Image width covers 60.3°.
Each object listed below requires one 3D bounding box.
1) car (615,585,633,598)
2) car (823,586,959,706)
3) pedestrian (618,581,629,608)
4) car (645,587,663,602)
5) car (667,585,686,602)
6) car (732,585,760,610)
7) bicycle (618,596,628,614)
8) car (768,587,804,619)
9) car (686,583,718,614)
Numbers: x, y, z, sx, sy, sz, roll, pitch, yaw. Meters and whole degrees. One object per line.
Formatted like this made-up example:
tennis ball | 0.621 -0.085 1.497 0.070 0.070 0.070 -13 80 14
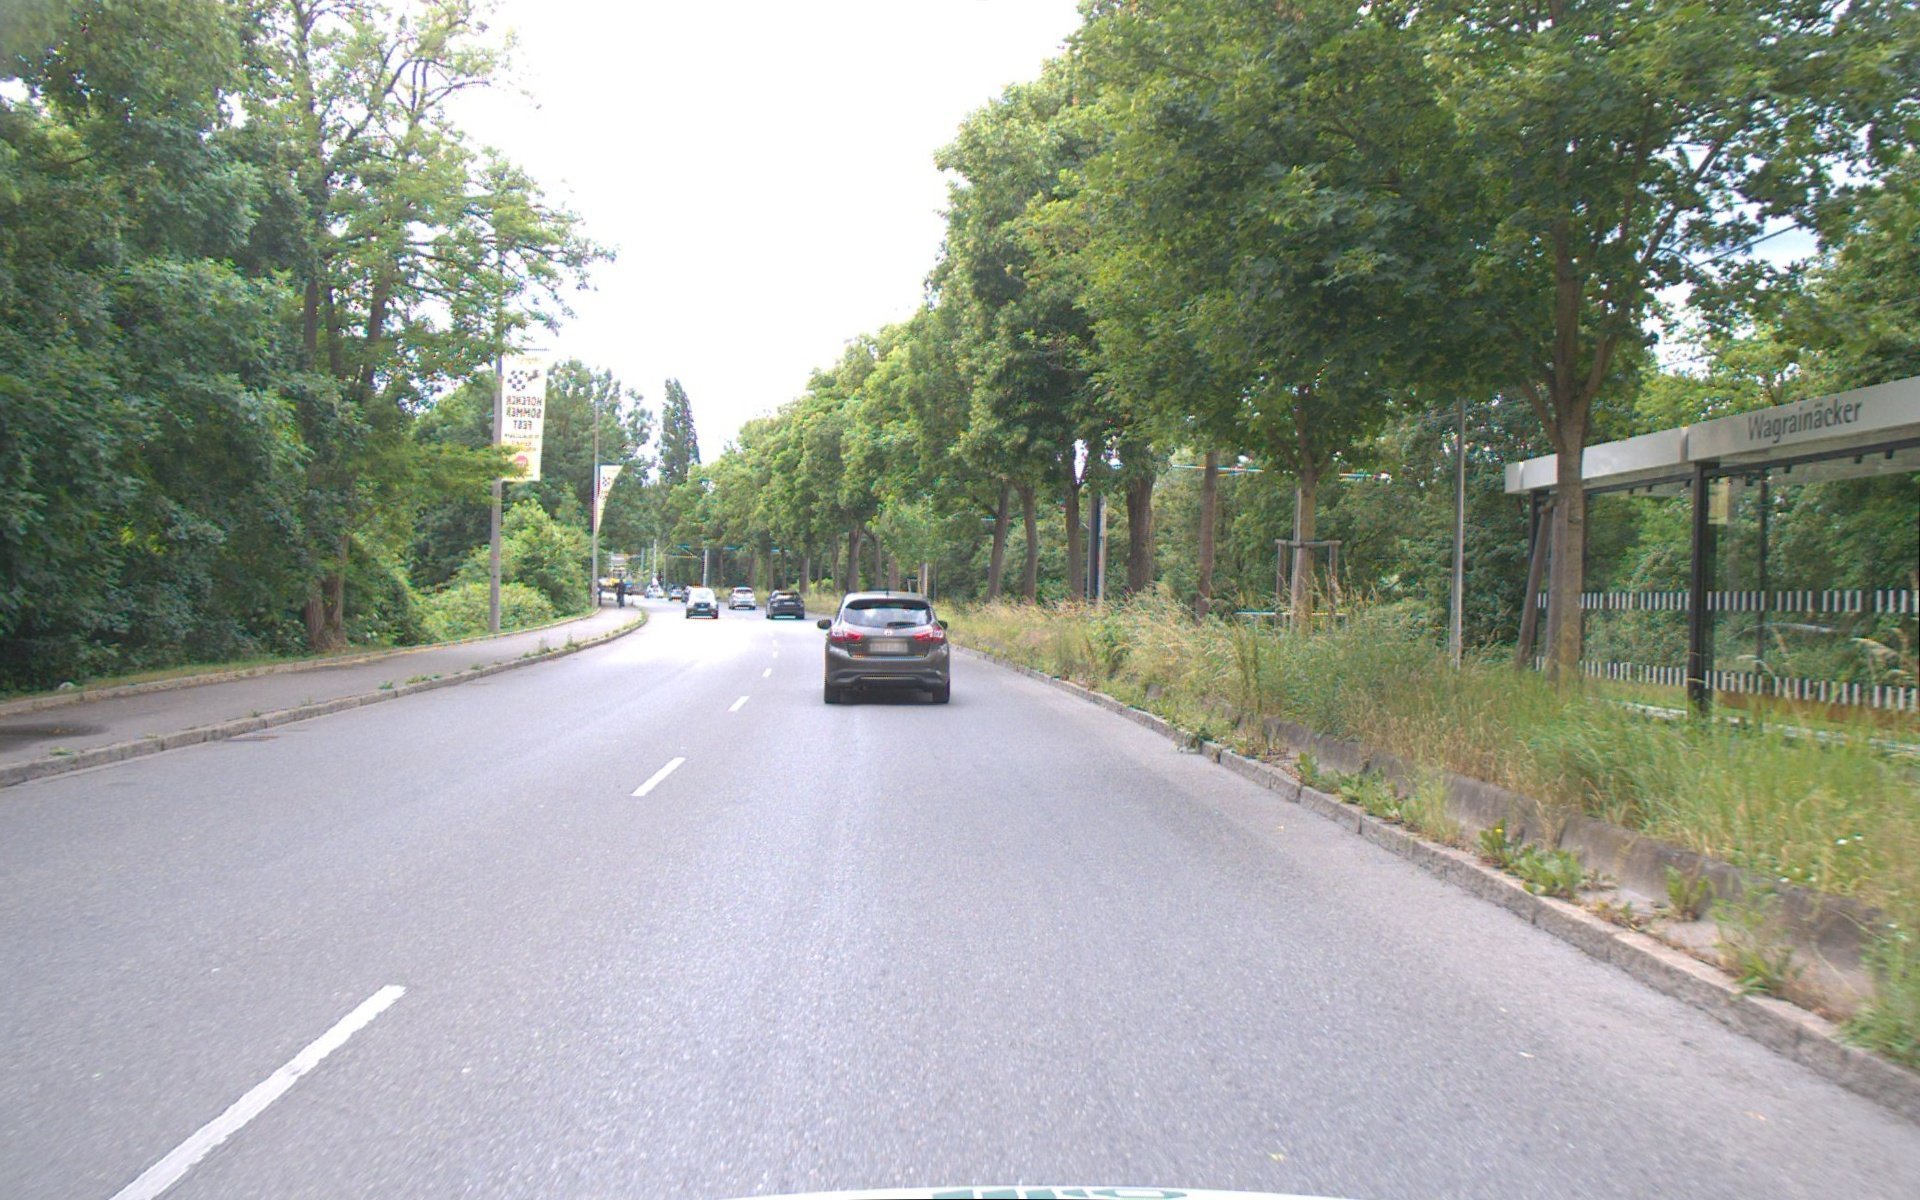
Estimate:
car | -42.017 -1.078 206.912 1.749 1.497 3.980 3 1 -18
car | -1.081 0.602 24.014 1.781 1.534 3.996 1 1 -5
pedestrian | -20.487 -0.336 100.720 0.606 1.598 0.847 3 0 -11
car | -33.464 -0.592 180.821 1.745 1.497 3.988 3 1 -13
car | -27.435 -0.597 159.862 1.744 1.497 3.990 2 1 -11
car | -14.683 -0.190 113.824 1.742 1.497 3.995 3 1 -6
bicycle | -20.530 0.308 100.803 0.479 1.048 1.121 3 1 -10
car | -8.903 0.141 84.747 1.742 1.497 3.995 3 1 -6
car | -13.277 -0.076 85.148 1.566 1.532 3.022 0 0 -8
